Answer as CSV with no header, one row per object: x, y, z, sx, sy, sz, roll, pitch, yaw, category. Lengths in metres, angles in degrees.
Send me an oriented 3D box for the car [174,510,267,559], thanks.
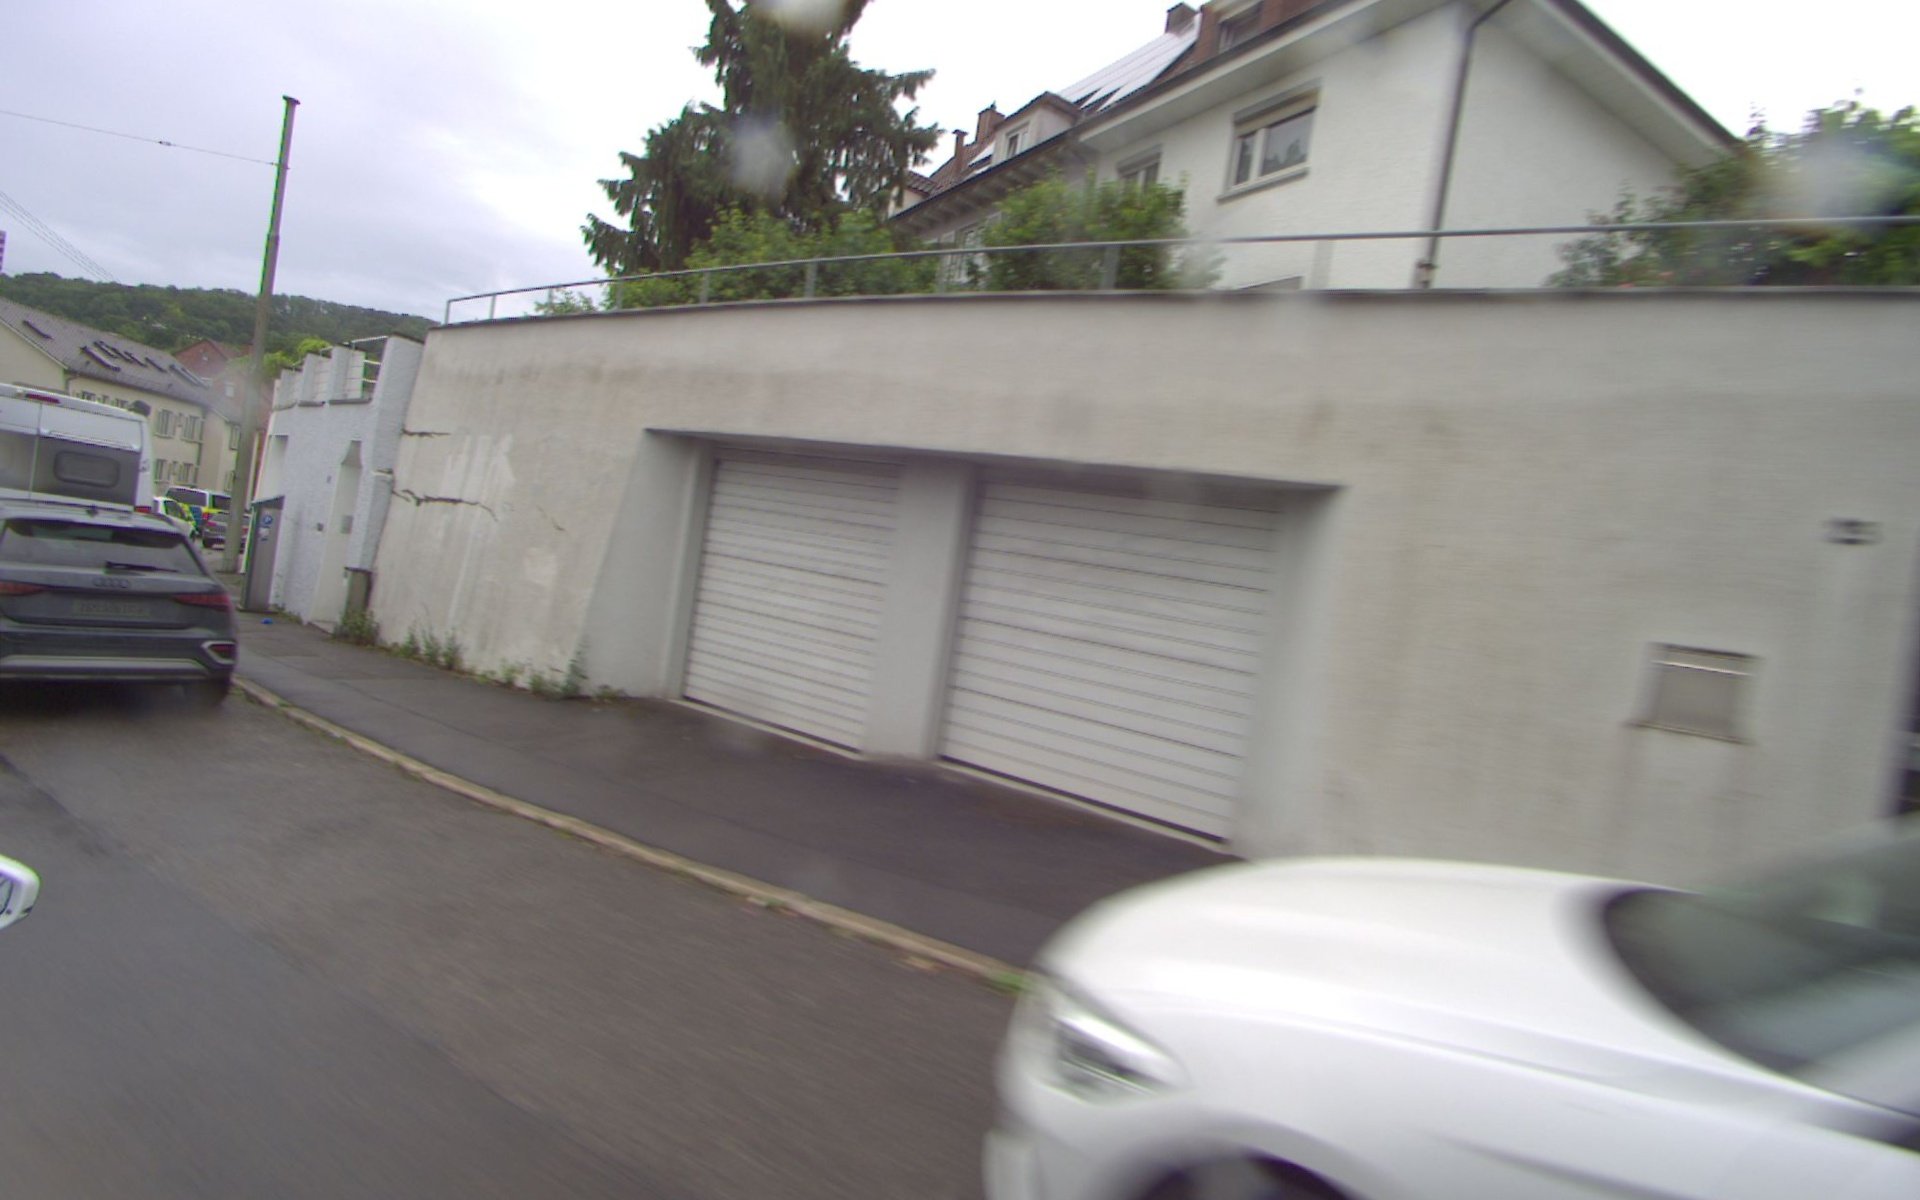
-27.545,-2.409,37.605,1.625,1.453,4.151,9,0,-21,car

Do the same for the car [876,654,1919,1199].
1.997,1.046,1.795,3.973,1.432,1.707,6,0,30,car

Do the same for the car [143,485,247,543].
-32.368,-3.591,42.724,2.286,1.963,4.299,8,1,-23,car

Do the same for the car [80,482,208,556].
-23.304,-2.269,28.905,1.789,1.668,4.182,9,-1,-27,car

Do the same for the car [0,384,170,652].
-11.313,-1.023,12.032,5.547,2.574,2.093,6,0,45,car

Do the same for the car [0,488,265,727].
-7.393,-0.088,8.189,4.123,1.514,1.751,7,0,40,car

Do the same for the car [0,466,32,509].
-40.059,-4.814,40.507,1.908,1.649,4.661,10,-2,-17,car
